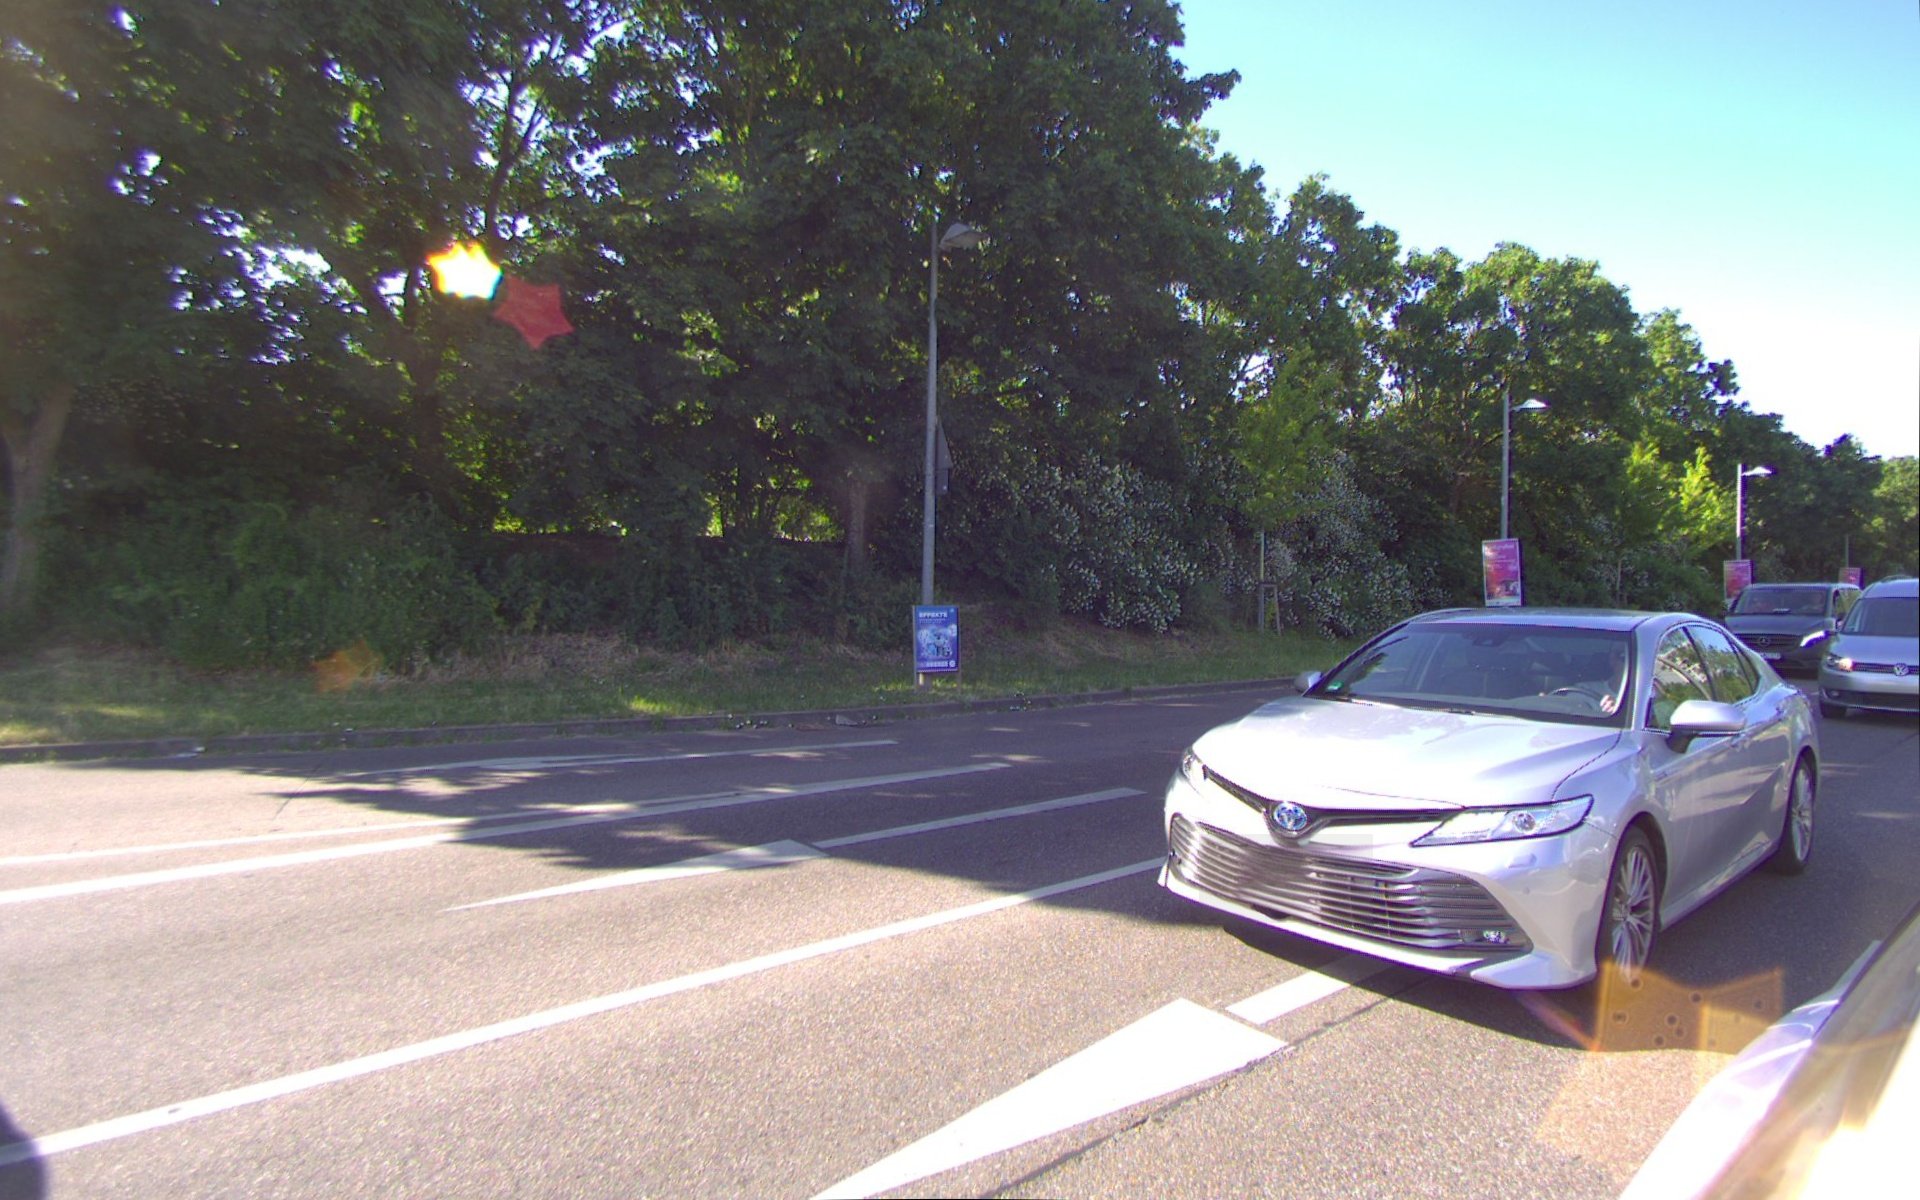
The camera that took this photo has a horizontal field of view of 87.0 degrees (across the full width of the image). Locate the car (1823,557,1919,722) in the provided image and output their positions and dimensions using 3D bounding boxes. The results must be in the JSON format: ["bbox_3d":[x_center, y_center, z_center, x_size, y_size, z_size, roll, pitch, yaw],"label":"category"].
[{"bbox_3d":[13.013,0.461,13.275,4.540,1.928,1.822,0,1,-40],"label":"car"}]

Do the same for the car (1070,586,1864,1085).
[{"bbox_3d":[2.954,0.694,5.358,4.664,1.477,2.069,0,2,-40],"label":"car"}]

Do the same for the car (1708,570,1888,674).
[{"bbox_3d":[17.468,0.375,21.011,5.056,1.917,1.998,0,1,-40],"label":"car"}]
